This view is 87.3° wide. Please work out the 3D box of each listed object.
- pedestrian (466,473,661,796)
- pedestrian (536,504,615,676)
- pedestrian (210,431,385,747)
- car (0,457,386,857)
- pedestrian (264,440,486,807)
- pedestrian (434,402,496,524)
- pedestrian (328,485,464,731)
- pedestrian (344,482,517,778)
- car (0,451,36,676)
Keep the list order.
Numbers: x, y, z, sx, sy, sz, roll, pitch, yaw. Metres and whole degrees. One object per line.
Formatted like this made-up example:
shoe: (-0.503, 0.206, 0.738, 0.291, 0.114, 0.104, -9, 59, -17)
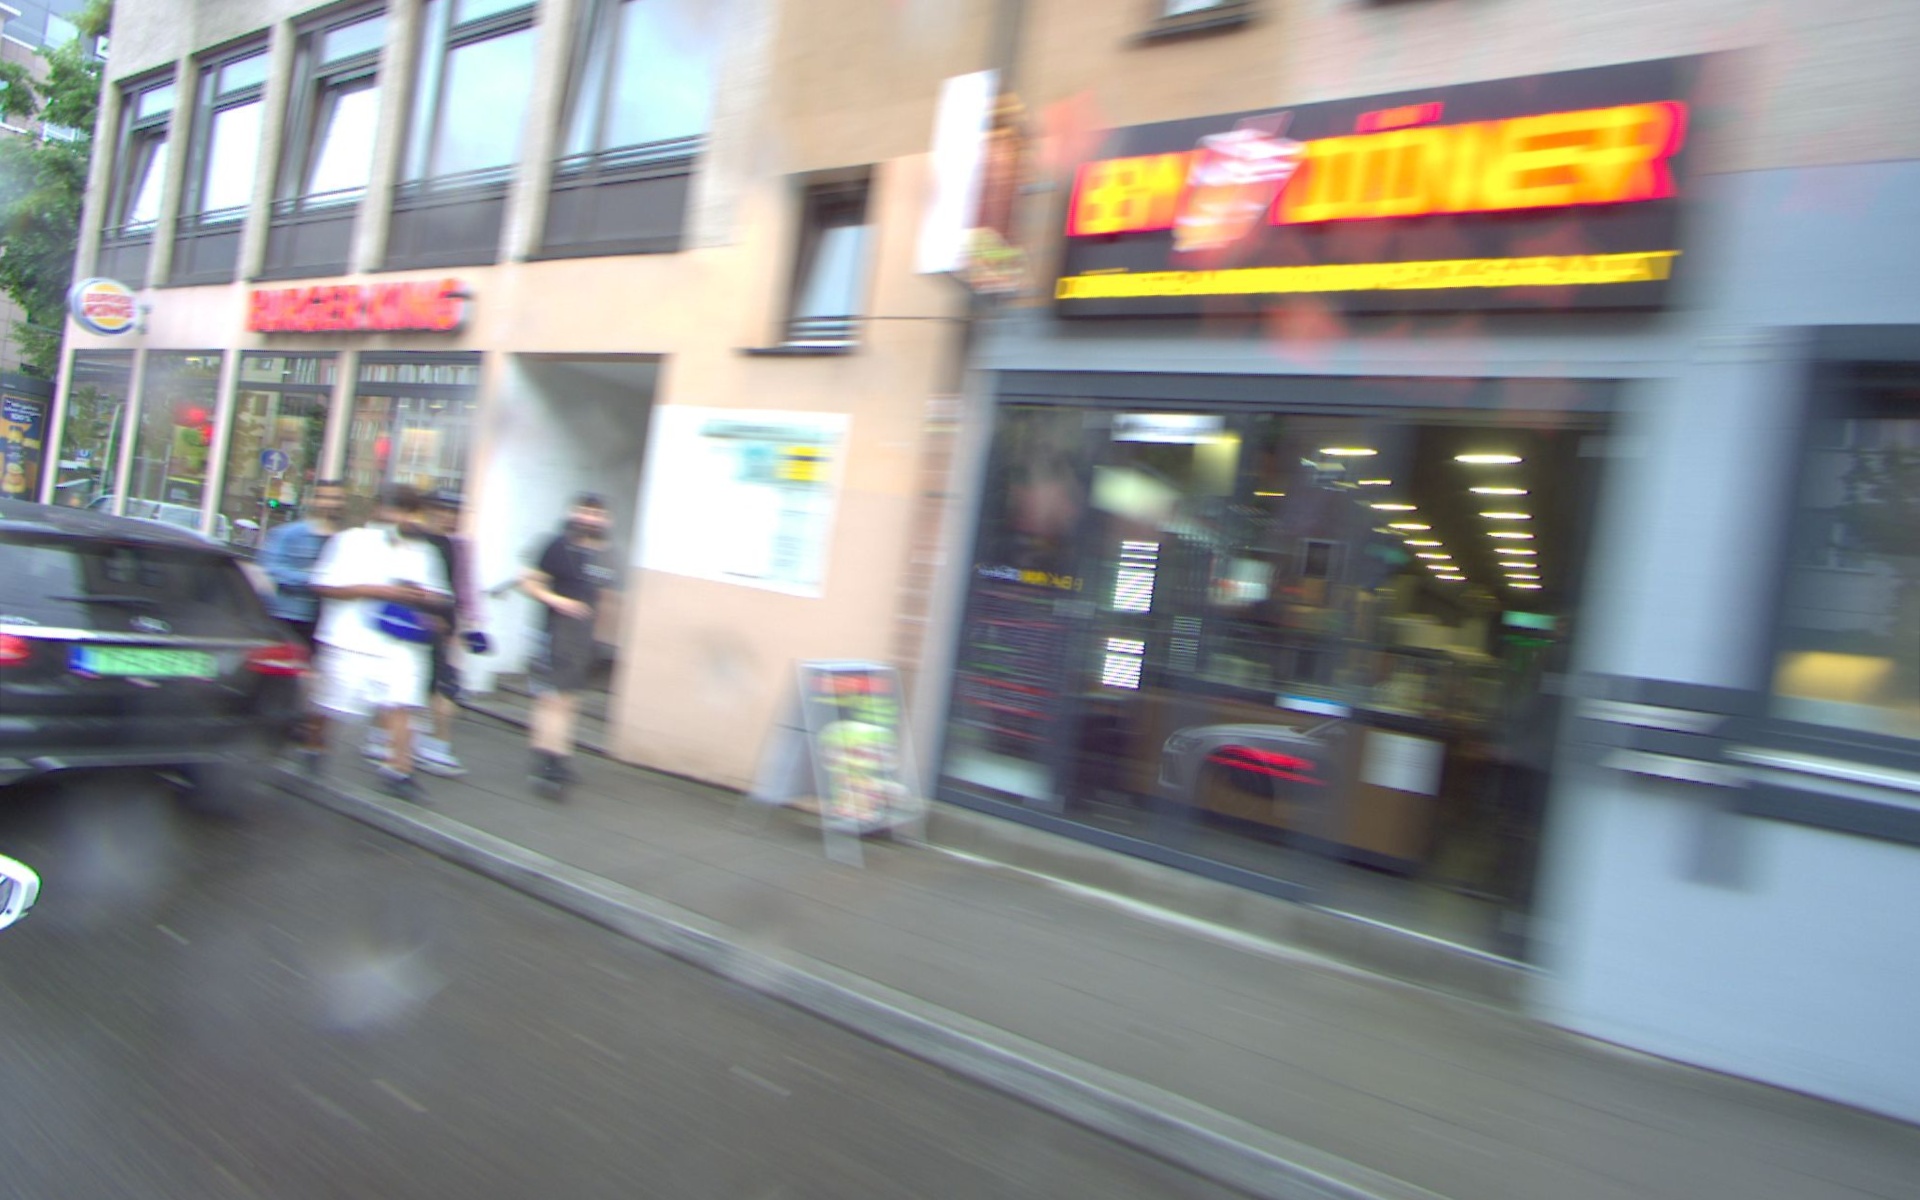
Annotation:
pedestrian: (-2.430, 0.206, 6.205, 0.578, 1.842, 0.756, 7, 1, 33)
pedestrian: (-3.393, -0.081, 8.887, 0.366, 1.471, 0.359, 7, 1, 29)
pedestrian: (-4.372, -0.067, 6.653, 0.525, 1.972, 0.652, 7, 1, 33)
car: (-5.460, 0.081, 5.704, 4.341, 1.635, 1.909, 6, -1, 32)
pedestrian: (-3.243, 0.118, 5.596, 0.642, 1.878, 0.696, 7, 1, 33)
pedestrian: (-8.130, -2.224, 16.534, 0.657, 1.842, 0.594, 6, 1, -18)
pedestrian: (-4.181, 0.063, 7.468, 0.469, 1.735, 0.576, 7, 1, 33)
pedestrian: (-3.330, 0.182, 6.340, 0.571, 1.735, 0.611, 7, 1, 33)
car: (-10.230, -0.586, 8.682, 4.696, 1.828, 1.910, 7, -1, 30)
